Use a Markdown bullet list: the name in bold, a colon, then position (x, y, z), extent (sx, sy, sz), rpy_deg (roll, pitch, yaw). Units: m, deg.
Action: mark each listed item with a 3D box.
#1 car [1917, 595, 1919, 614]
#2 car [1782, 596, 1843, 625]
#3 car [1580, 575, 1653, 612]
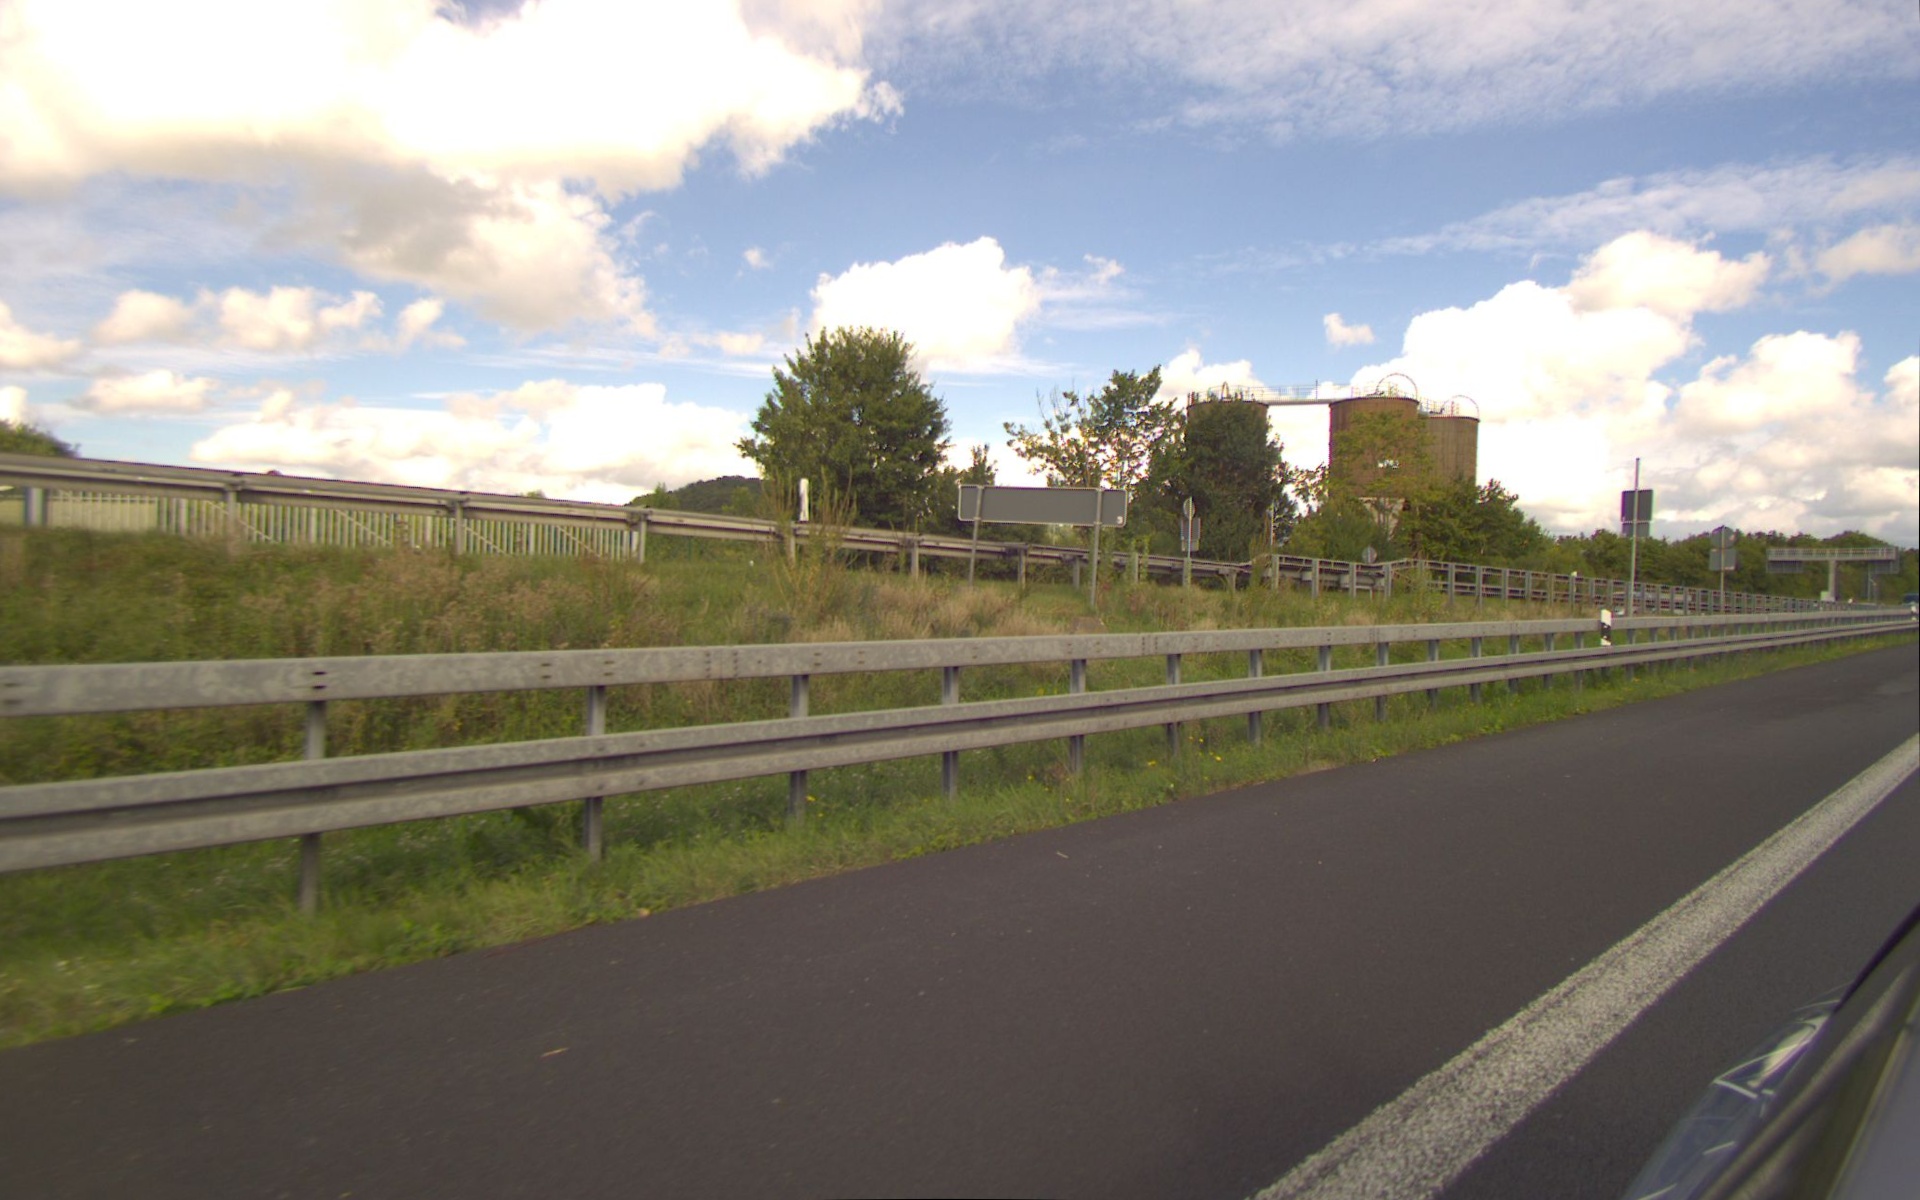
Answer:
- **car**: position (116.038, 0.583, 120.943), extent (5.039, 2.213, 1.997), rpy_deg (0, 1, -42)
- **car**: position (46.507, 0.541, 55.170), extent (3.931, 1.503, 1.997), rpy_deg (0, 1, -42)
- **car**: position (33.062, -0.343, 50.962), extent (3.930, 1.729, 1.998), rpy_deg (0, 3, -40)
